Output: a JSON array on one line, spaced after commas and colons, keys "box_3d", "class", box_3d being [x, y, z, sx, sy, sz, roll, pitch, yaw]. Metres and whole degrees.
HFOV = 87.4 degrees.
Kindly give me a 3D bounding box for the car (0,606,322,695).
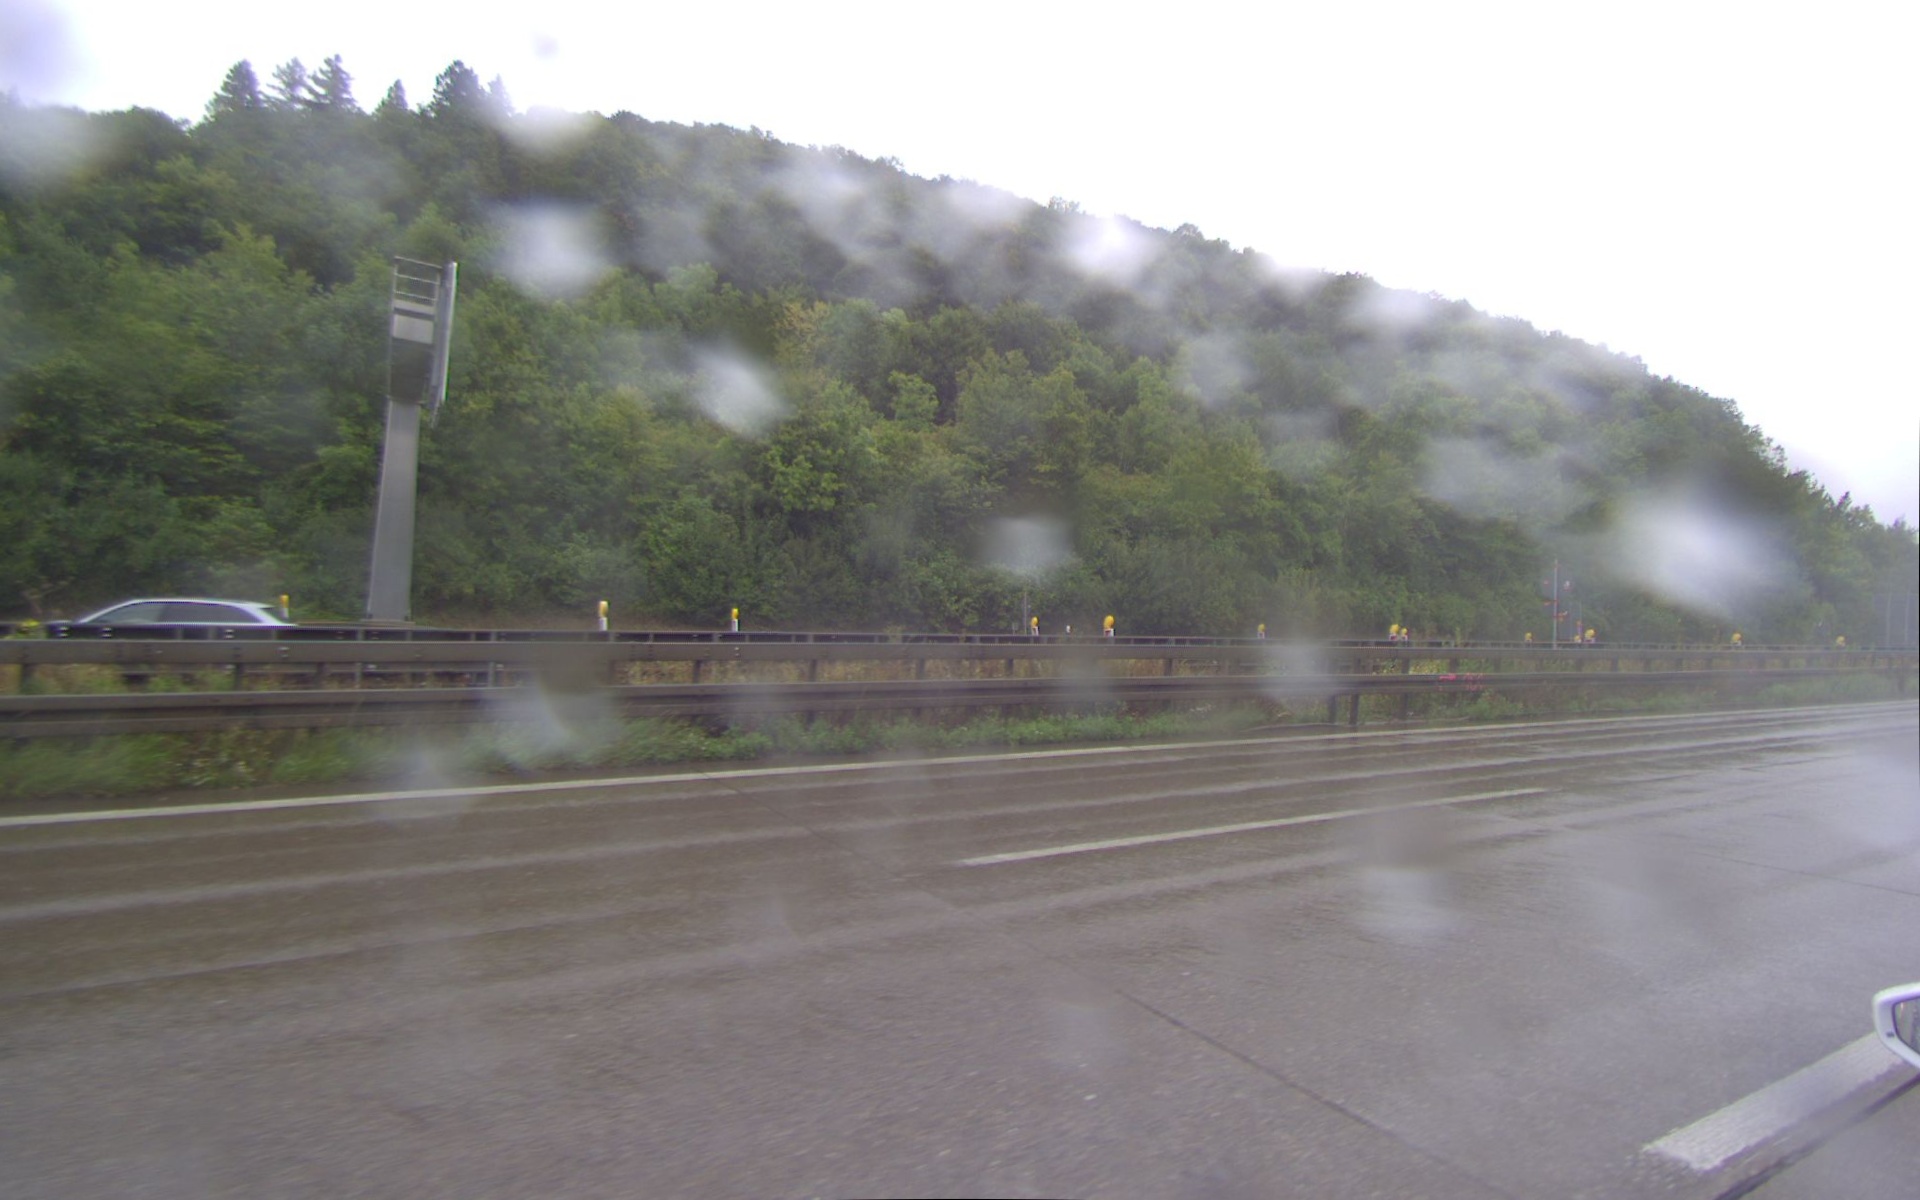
[{"box_3d": [-14.553, 0.904, 18.654, 4.466, 1.453, 1.658, 2, 0, -31], "class": "car"}]
